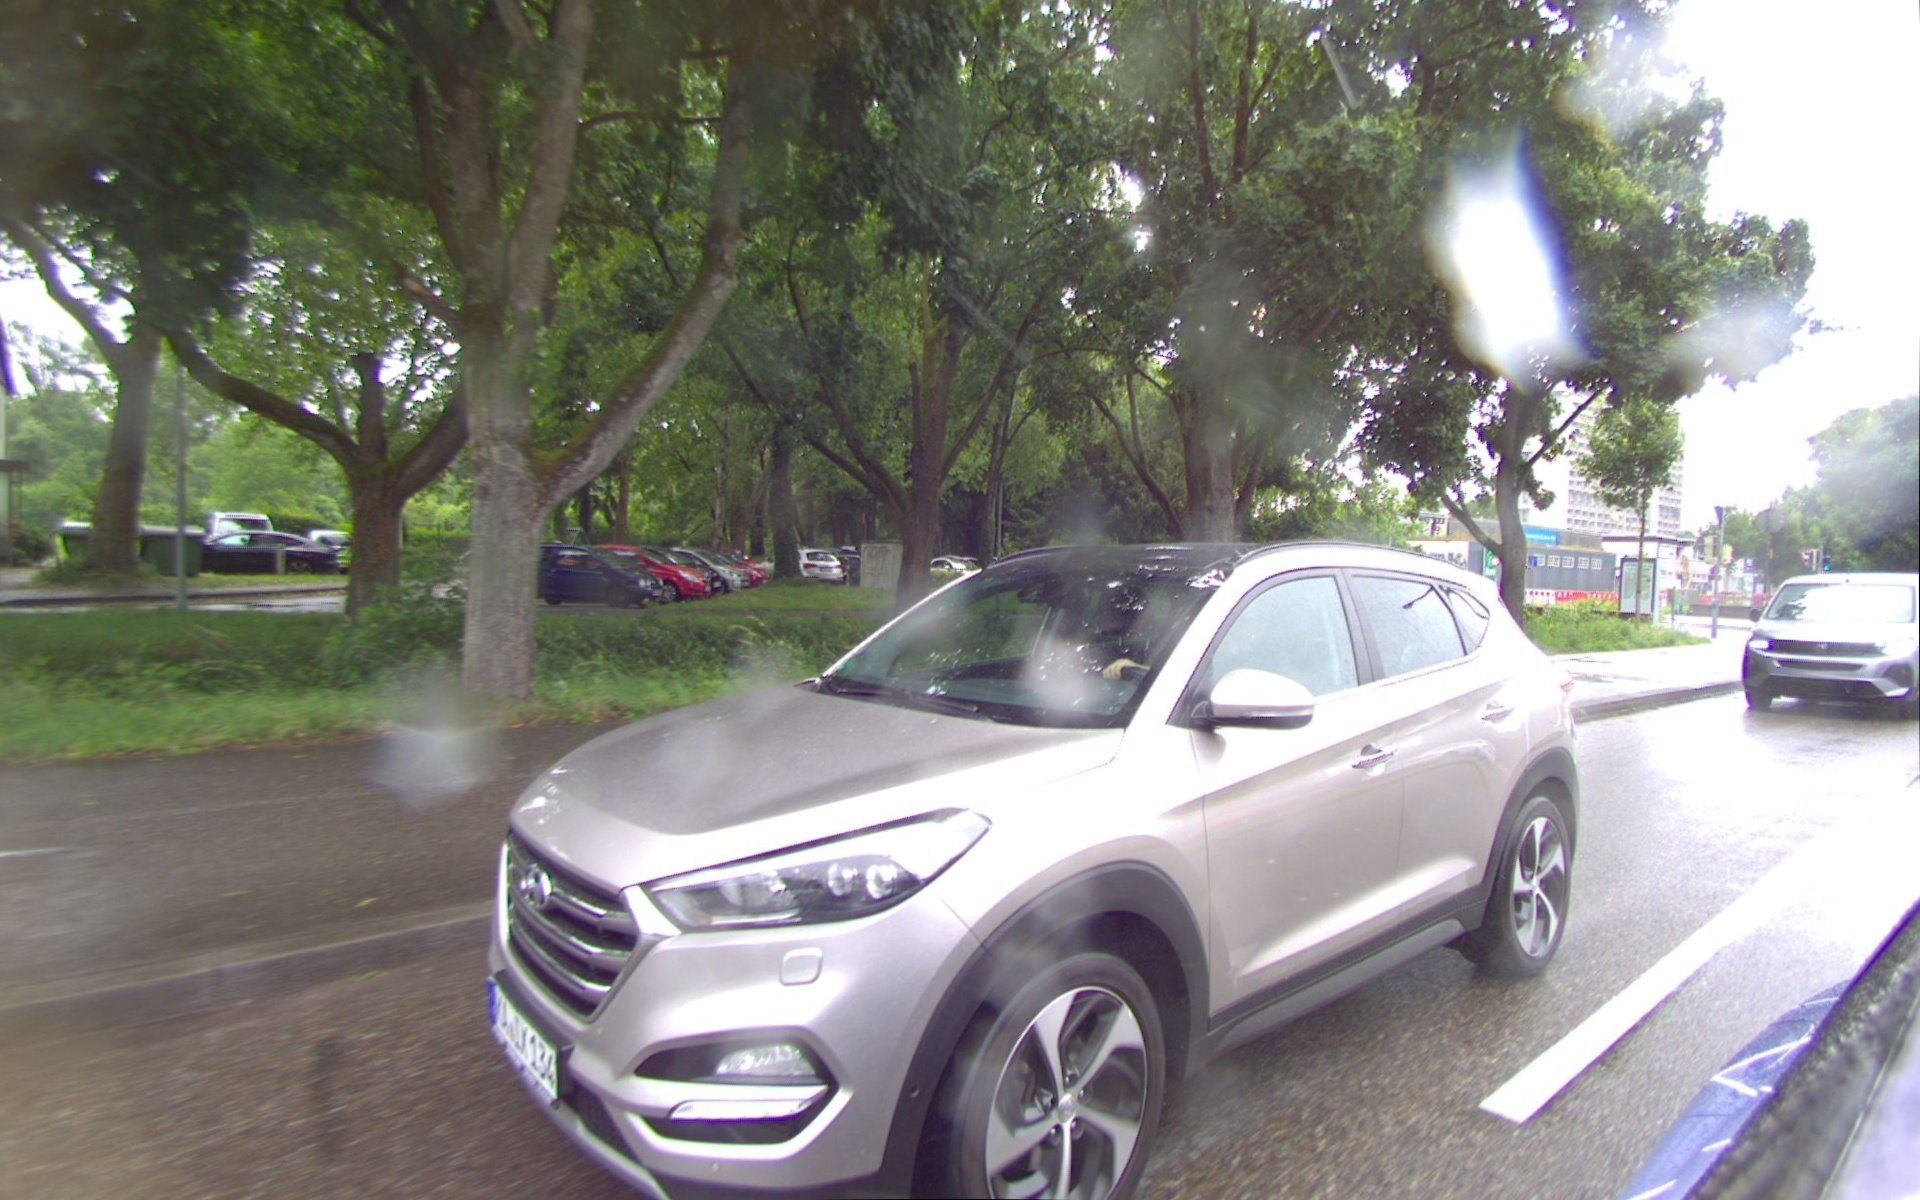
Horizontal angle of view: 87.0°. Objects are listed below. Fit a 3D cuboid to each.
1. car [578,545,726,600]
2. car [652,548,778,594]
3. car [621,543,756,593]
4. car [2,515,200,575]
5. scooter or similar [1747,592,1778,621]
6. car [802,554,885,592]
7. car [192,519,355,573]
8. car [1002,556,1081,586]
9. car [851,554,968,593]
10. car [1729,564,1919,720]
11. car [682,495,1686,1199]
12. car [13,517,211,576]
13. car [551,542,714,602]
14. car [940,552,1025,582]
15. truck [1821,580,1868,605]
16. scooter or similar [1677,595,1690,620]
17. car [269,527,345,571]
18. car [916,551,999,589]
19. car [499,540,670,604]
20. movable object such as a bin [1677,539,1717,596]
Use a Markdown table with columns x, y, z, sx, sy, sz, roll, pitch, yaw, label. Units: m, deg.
| x | y | z | sx | sy | sz | roll | pitch | yaw | label |
| --- | --- | --- | --- | --- | --- | --- | --- | --- | --- |
| -8.636 | -0.767 | 28.553 | 3.681 | 1.467 | 1.670 | 0 | 1 | 1 | car |
| -7.988 | -0.942 | 33.107 | 3.691 | 1.467 | 1.599 | 1 | 1 | 10 | car |
| -8.312 | -0.983 | 31.111 | 3.691 | 1.467 | 1.665 | 1 | 1 | 10 | car |
| -21.075 | -1.302 | 24.952 | 3.638 | 1.332 | 1.574 | 0 | 1 | -42 | car |
| 36.915 | 0.295 | 46.555 | 0.315 | 1.244 | 0.962 | 1 | 5 | -33 | scooter or similar |
| -4.676 | -1.059 | 40.272 | 1.639 | 1.467 | 3.720 | 0 | 1 | -37 | car |
| -21.070 | -1.610 | 31.144 | 4.038 | 1.518 | 1.757 | 0 | 1 | -37 | car |
| 4.647 | -1.651 | 58.324 | 1.891 | 1.651 | 4.598 | 0 | 1 | -38 | car |
| -2.140 | -1.044 | 40.958 | 2.127 | 1.467 | 5.416 | 0 | 1 | -36 | car |
| 12.424 | 0.463 | 13.889 | 4.481 | 1.818 | 1.998 | 0 | 1 | -40 | car |
| 1.204 | 0.542 | 4.136 | 4.121 | 1.630 | 1.888 | -1 | 2 | -40 | car |
| -22.393 | -1.369 | 26.865 | 3.930 | 1.402 | 1.586 | 0 | 1 | -41 | car |
| -8.382 | -0.721 | 26.081 | 3.681 | 1.467 | 1.670 | 0 | 1 | 1 | car |
| 1.172 | -1.776 | 55.125 | 4.586 | 1.603 | 1.895 | 1 | 1 | 44 | car |
| 106.509 | -0.892 | 121.820 | 8.592 | 2.935 | 2.810 | 0 | 1 | -39 | truck |
| 35.196 | 0.346 | 49.233 | 0.549 | 1.191 | 0.286 | 1 | 2 | -32 | scooter or similar |
| -23.864 | -1.805 | 36.940 | 1.707 | 1.474 | 3.992 | 0 | 1 | -43 | car |
| -0.153 | -1.267 | 43.851 | 1.845 | 1.544 | 4.004 | 0 | 1 | -31 | car |
| -8.488 | -0.633 | 22.998 | 3.329 | 1.369 | 1.523 | 0 | 1 | 6 | car |
| 59.217 | -2.585 | 81.311 | 3.836 | 4.481 | 1.558 | 0 | 1 | -37 | movable object such as a bin |
